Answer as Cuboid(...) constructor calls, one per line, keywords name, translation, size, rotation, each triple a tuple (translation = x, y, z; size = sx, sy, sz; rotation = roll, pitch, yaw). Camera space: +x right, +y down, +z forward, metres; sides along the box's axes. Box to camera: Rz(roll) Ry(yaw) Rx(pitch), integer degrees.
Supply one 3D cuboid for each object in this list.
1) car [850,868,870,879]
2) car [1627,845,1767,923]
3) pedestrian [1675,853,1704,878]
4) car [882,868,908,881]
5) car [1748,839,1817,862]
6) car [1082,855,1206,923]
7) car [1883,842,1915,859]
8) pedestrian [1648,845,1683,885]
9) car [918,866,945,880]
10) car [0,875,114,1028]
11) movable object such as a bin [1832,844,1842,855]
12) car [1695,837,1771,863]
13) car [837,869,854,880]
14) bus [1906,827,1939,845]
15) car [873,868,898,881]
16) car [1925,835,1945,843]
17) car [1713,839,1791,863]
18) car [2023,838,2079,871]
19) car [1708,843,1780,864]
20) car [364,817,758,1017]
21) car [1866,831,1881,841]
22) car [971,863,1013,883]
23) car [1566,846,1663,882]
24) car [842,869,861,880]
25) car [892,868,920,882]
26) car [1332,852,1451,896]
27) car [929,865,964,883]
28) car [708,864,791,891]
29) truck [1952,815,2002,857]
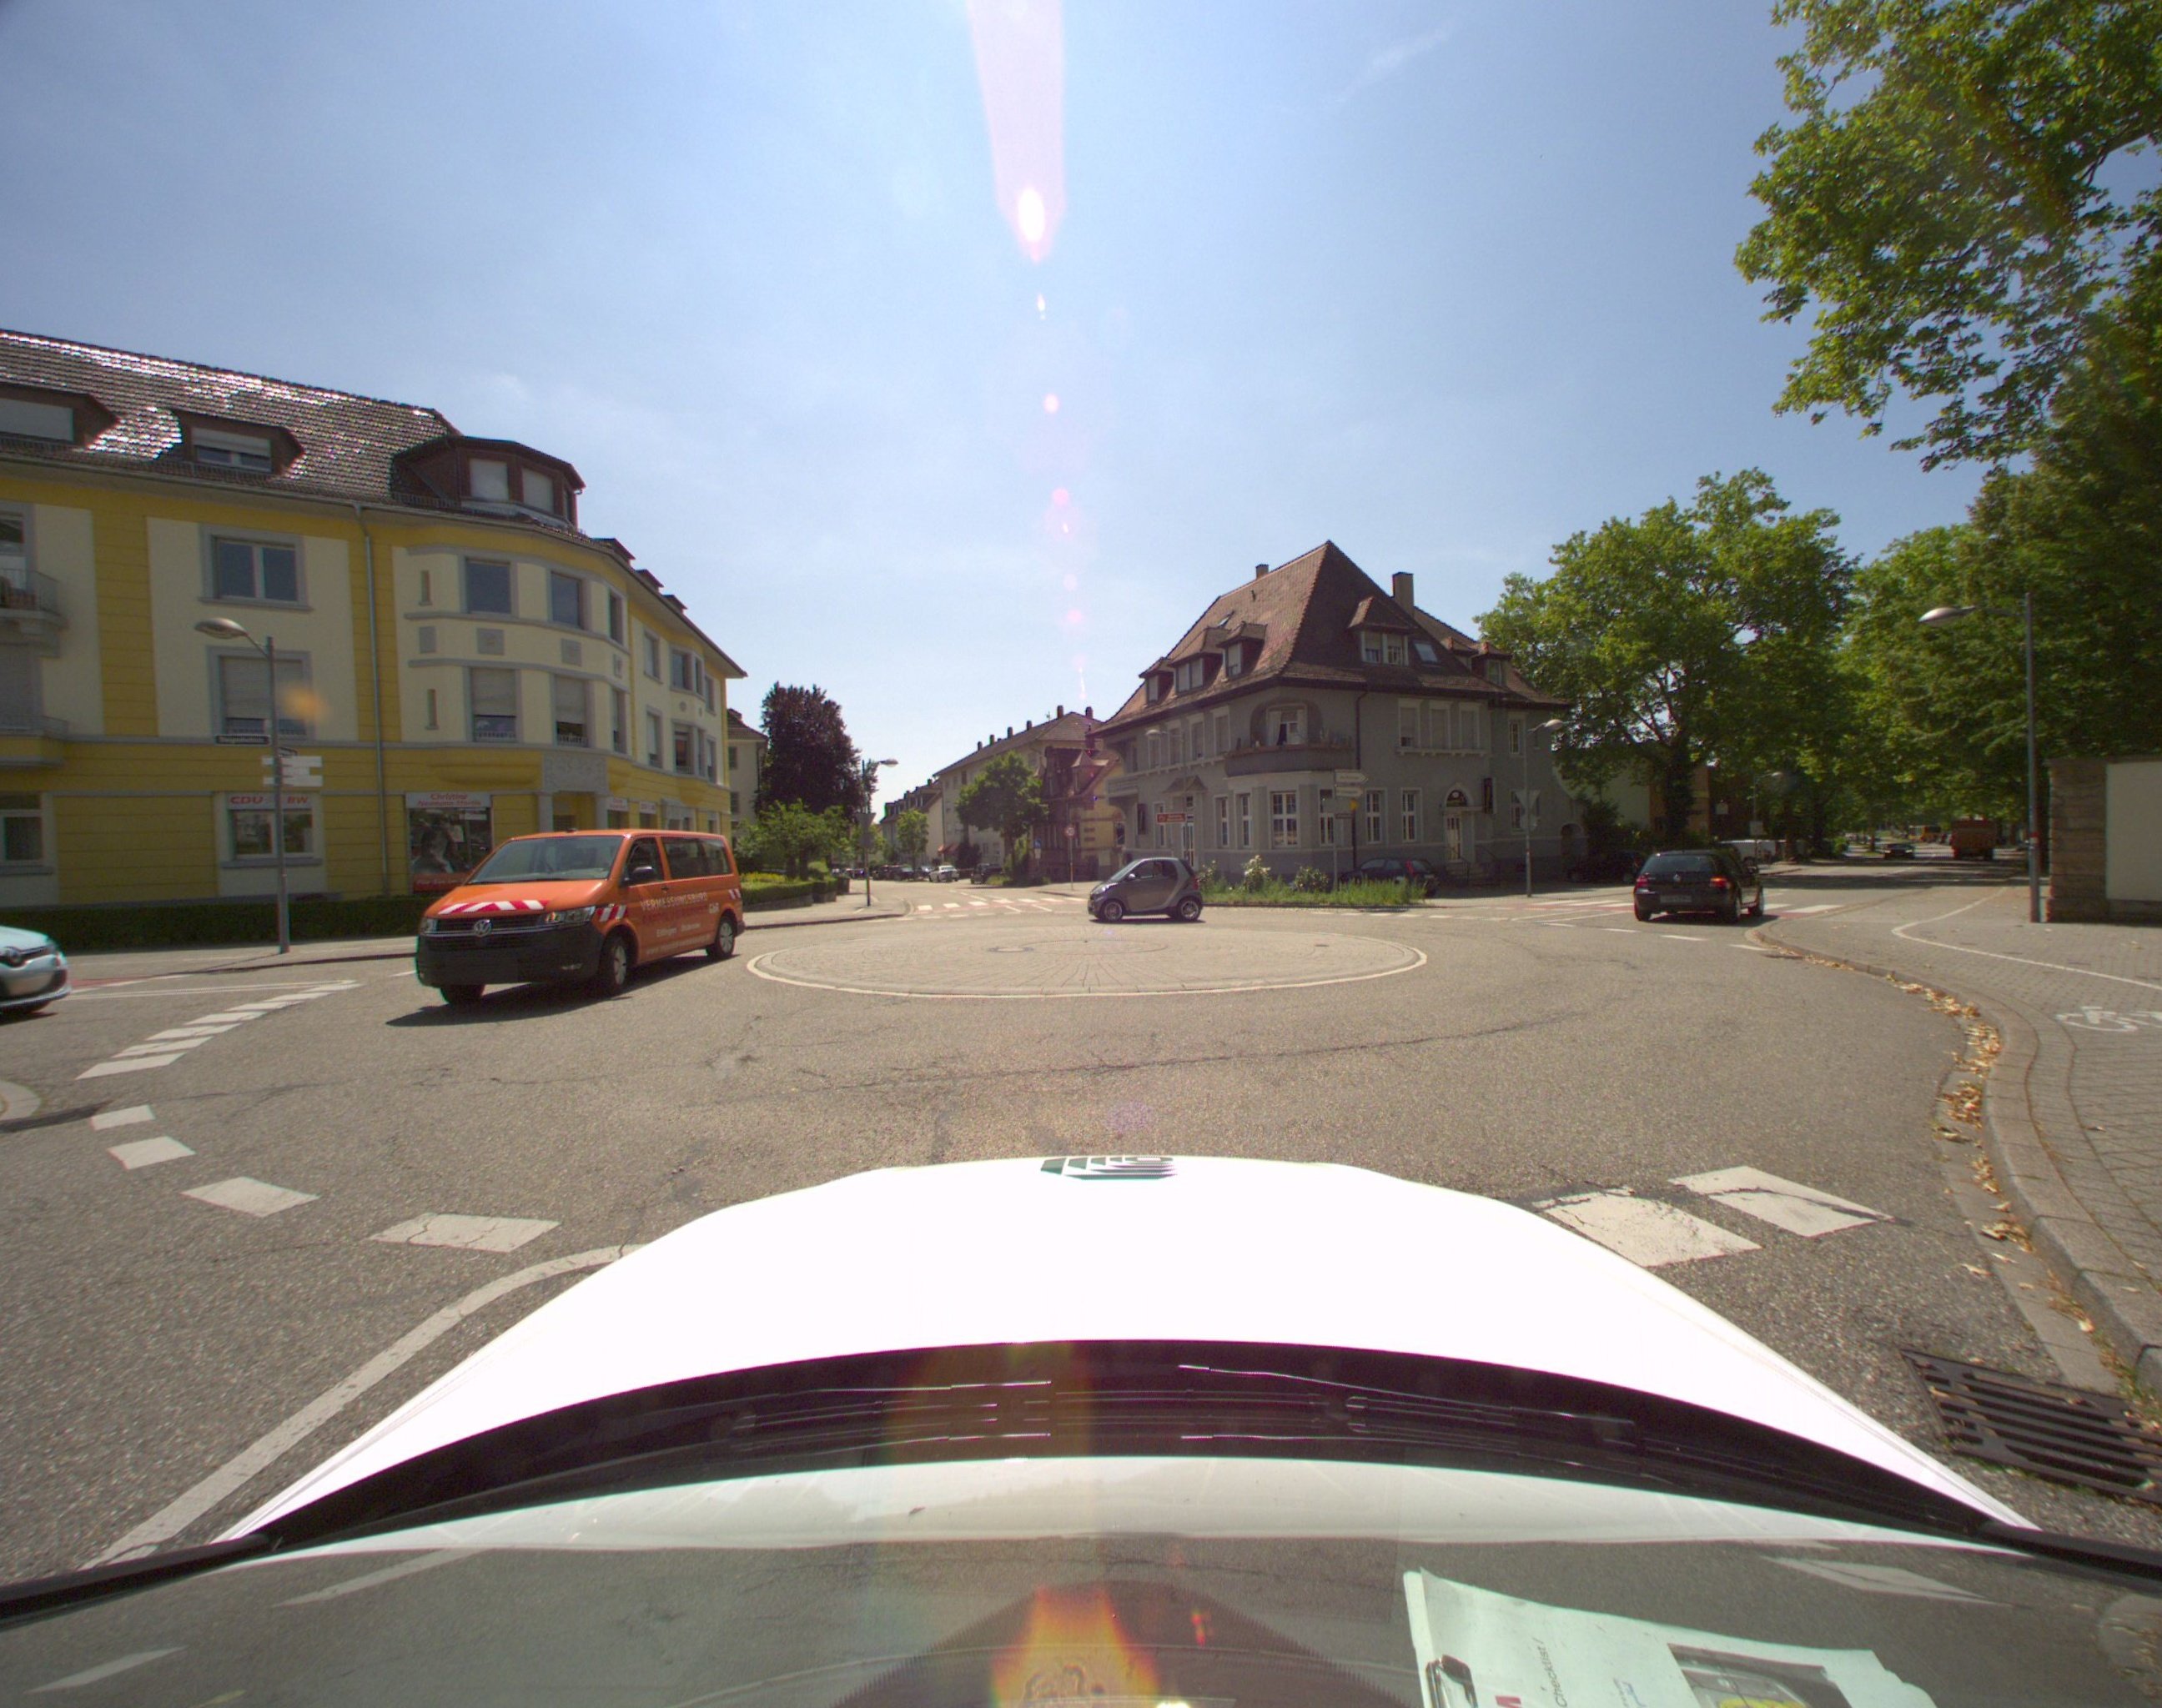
Cuboid(name="car", translation=(-31.856, 2.775, 117.259), size=(2.003, 1.509, 4.382), rotation=(-1, -1, -25))
Cuboid(name="car", translation=(13.104, 0.569, 17.238), size=(4.081, 1.447, 1.695), rotation=(-1, -1, -44))
Cuboid(name="pedestrian", translation=(27.941, 0.514, 37.409), size=(0.900, 1.122, 0.749), rotation=(-1, -1, -30))
Cuboid(name="car", translation=(-21.491, 2.348, 93.874), size=(2.003, 1.509, 4.382), rotation=(-1, -1, -25))
Cuboid(name="car", translation=(57.969, -0.304, 67.302), size=(1.913, 1.804, 4.092), rotation=(-1, 1, -42))
Cuboid(name="car", translation=(1.509, 0.830, 20.085), size=(2.776, 1.530, 1.566), rotation=(-1, -1, -7))
Cuboid(name="car", translation=(71.112, -0.298, 70.799), size=(4.417, 1.426, 1.753), rotation=(-1, -1, -43))
Cuboid(name="pedestrian", translation=(25.593, 0.485, 35.686), size=(1.116, 1.742, 0.865), rotation=(-1, -1, -33))
Cuboid(name="car", translation=(-17.151, 2.150, 93.556), size=(2.003, 1.509, 4.382), rotation=(-1, -1, -25))
Cuboid(name="car", translation=(-13.153, 1.029, 8.237), size=(4.152, 1.525, 1.653), rotation=(0, 0, -13))
Cuboid(name="movable object such as a bin", translation=(72.547, -0.402, 78.151), size=(0.623, 1.048, 0.619), rotation=(-1, 0, -33))
Cuboid(name="car", translation=(46.071, -0.322, 57.603), size=(1.878, 1.792, 3.952), rotation=(-1, 1, -42))
Cuboid(name="car", translation=(-36.986, 3.212, 127.887), size=(2.003, 1.509, 4.382), rotation=(-1, -1, -25))
Cuboid(name="bus", translation=(157.281, -3.257, 152.345), size=(2.638, 3.150, 11.268), rotation=(-2, -1, 38))
Cuboid(name="car", translation=(-23.681, 2.432, 98.548), size=(2.003, 1.509, 4.382), rotation=(-1, -1, -25))
Cuboid(name="car", translation=(147.049, -2.585, 140.243), size=(1.749, 1.374, 3.753), rotation=(-3, -1, 38))
Cuboid(name="car", translation=(51.375, -0.257, 62.431), size=(1.913, 1.804, 4.385), rotation=(-1, 1, -42))
Cuboid(name="car", translation=(51.950, 0.000, 43.595), size=(4.803, 1.557, 1.726), rotation=(-2, -1, -38))
Cuboid(name="car", translation=(49.404, -0.063, 60.714), size=(1.878, 1.515, 3.952), rotation=(-1, 1, -42))
Cuboid(name="car", translation=(-6.228, 0.585, 10.720), size=(1.938, 1.959, 5.019), rotation=(-2, 1, -1))
Cuboid(name="car", translation=(155.357, -3.548, 159.693), size=(1.975, 1.666, 4.024), rotation=(-1, -1, 44))
Cuboid(name="car", translation=(-7.006, 1.488, 63.881), size=(2.003, 1.509, 4.382), rotation=(-1, -1, -25))
Cuboid(name="car", translation=(24.662, 0.458, 37.739), size=(1.729, 1.546, 3.361), rotation=(-1, -1, -29))
Cuboid(name="car", translation=(-34.553, 3.043, 122.566), size=(2.003, 1.509, 4.382), rotation=(-1, -1, -25))
Cuboid(name="car", translation=(-18.987, 2.250, 88.372), size=(2.003, 1.509, 4.382), rotation=(-1, -1, -25))
Cuboid(name="car", translation=(11.139, 0.719, 29.451), size=(1.729, 1.460, 3.757), rotation=(-1, -1, -29))
Cuboid(name="car", translation=(-12.393, 1.840, 74.737), size=(2.003, 1.509, 4.382), rotation=(-1, -1, -25))
Cuboid(name="car", translation=(-20.292, 1.418, 49.833), size=(4.434, 1.509, 1.980), rotation=(-1, -1, -31))
Cuboid(name="truck", translation=(70.568, -1.338, 64.091), size=(5.798, 3.134, 2.350), rotation=(1, -1, -40))
